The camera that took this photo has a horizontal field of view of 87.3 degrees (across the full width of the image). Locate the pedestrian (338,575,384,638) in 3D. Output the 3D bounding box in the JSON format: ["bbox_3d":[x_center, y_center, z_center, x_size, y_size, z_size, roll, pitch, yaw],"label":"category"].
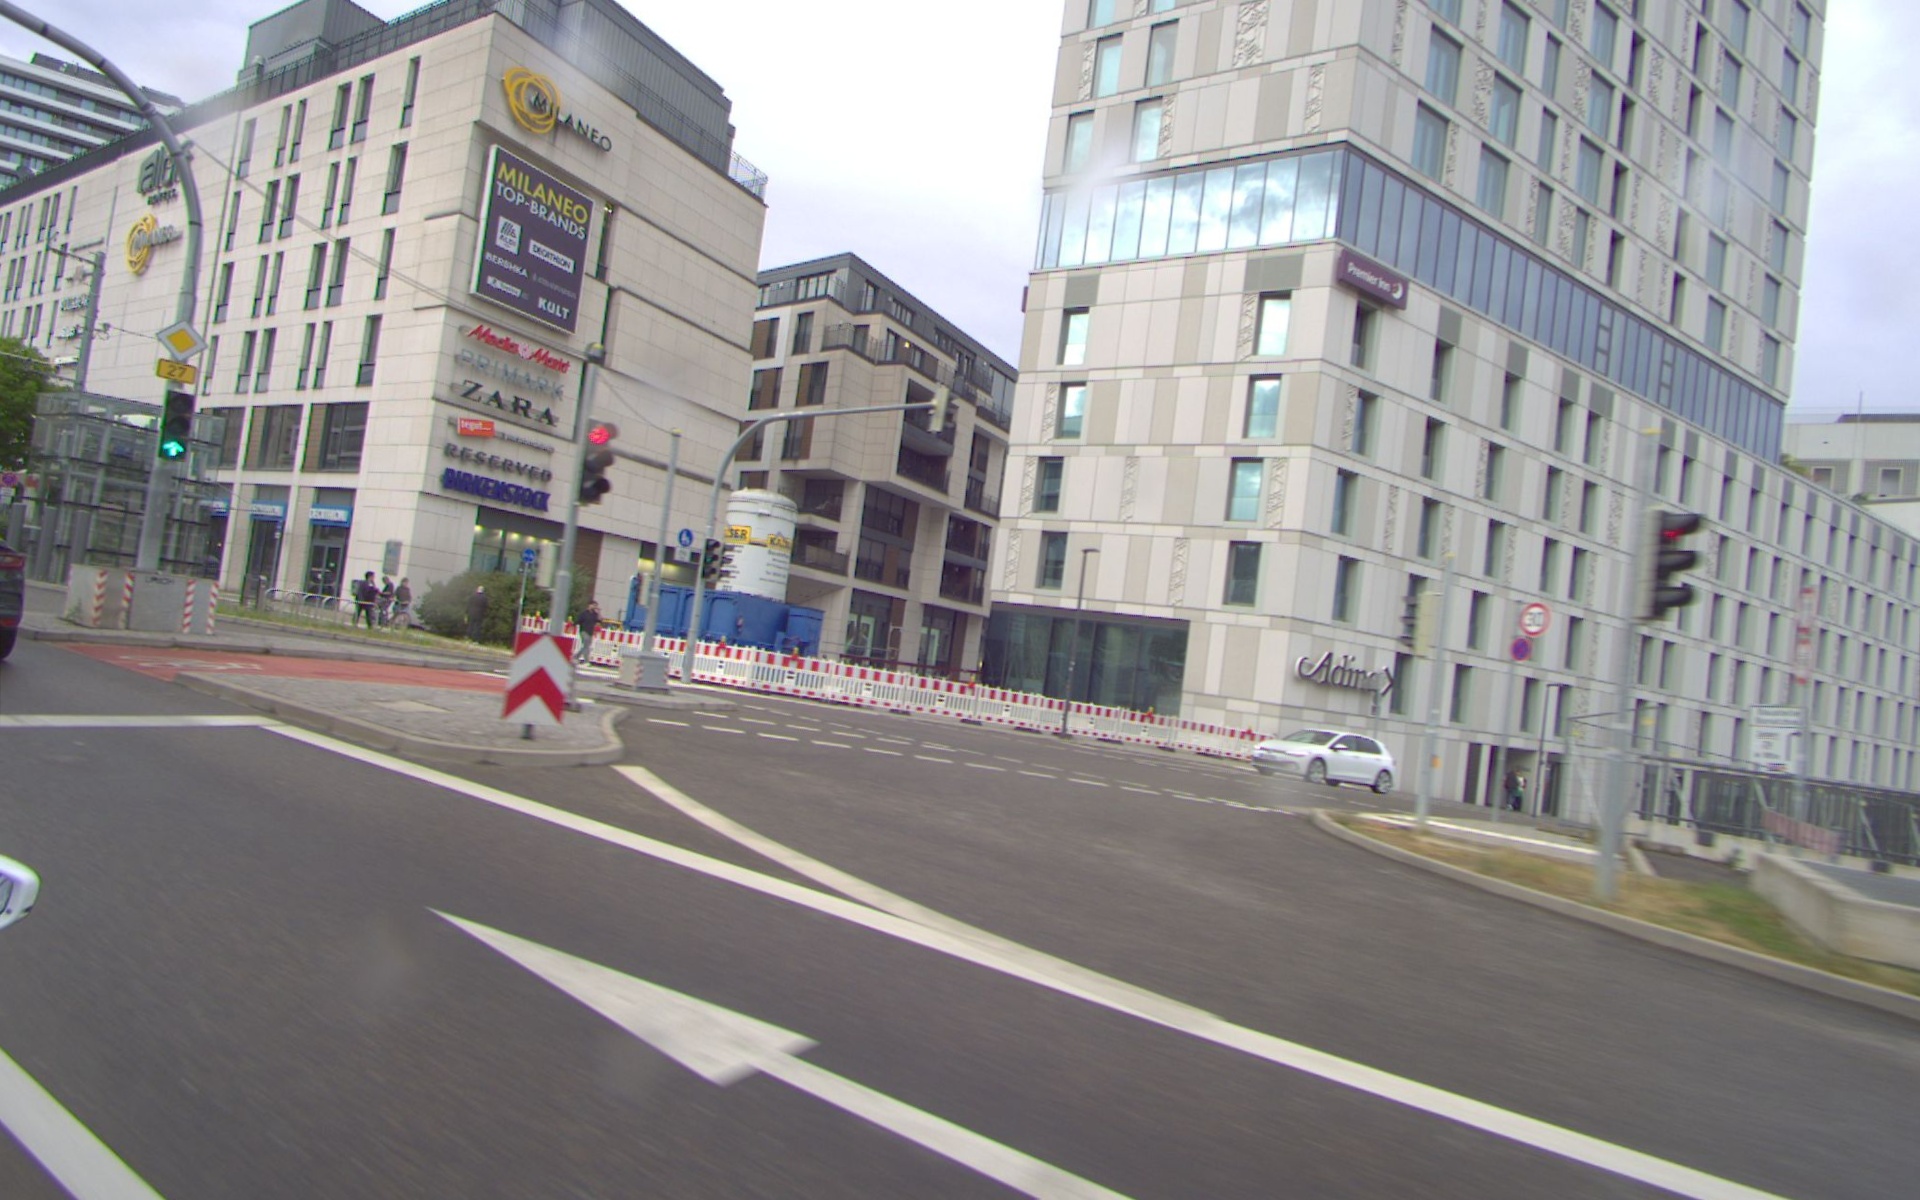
[{"bbox_3d":[-16.436,0.184,27.596,0.805,1.629,0.614,5,-2,32],"label":"pedestrian"}]

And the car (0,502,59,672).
[{"bbox_3d":[-10.778,-0.382,9.748,4.267,1.524,1.794,6,-2,32],"label":"car"}]

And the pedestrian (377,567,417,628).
[{"bbox_3d":[-15.917,-0.070,28.448,0.687,1.629,0.551,5,-2,32],"label":"pedestrian"}]

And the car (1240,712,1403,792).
[{"bbox_3d":[9.362,3.941,25.980,3.962,1.448,1.731,11,-4,-30],"label":"car"}]

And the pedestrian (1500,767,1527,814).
[{"bbox_3d":[22.090,7.581,40.126,0.787,1.721,0.799,5,-2,32],"label":"pedestrian"}]

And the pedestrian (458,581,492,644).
[{"bbox_3d":[-14.531,0.380,30.134,0.584,1.801,0.441,6,-1,5],"label":"pedestrian"}]

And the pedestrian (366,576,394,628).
[{"bbox_3d":[-19.068,0.063,33.055,0.590,1.661,0.583,7,-2,-33],"label":"pedestrian"}]

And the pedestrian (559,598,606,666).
[{"bbox_3d":[-9.963,0.845,26.555,0.810,1.691,0.622,5,-2,32],"label":"pedestrian"}]

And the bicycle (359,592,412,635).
[{"bbox_3d":[-16.107,0.383,28.185,1.714,1.027,0.450,5,-2,32],"label":"bicycle"}]
